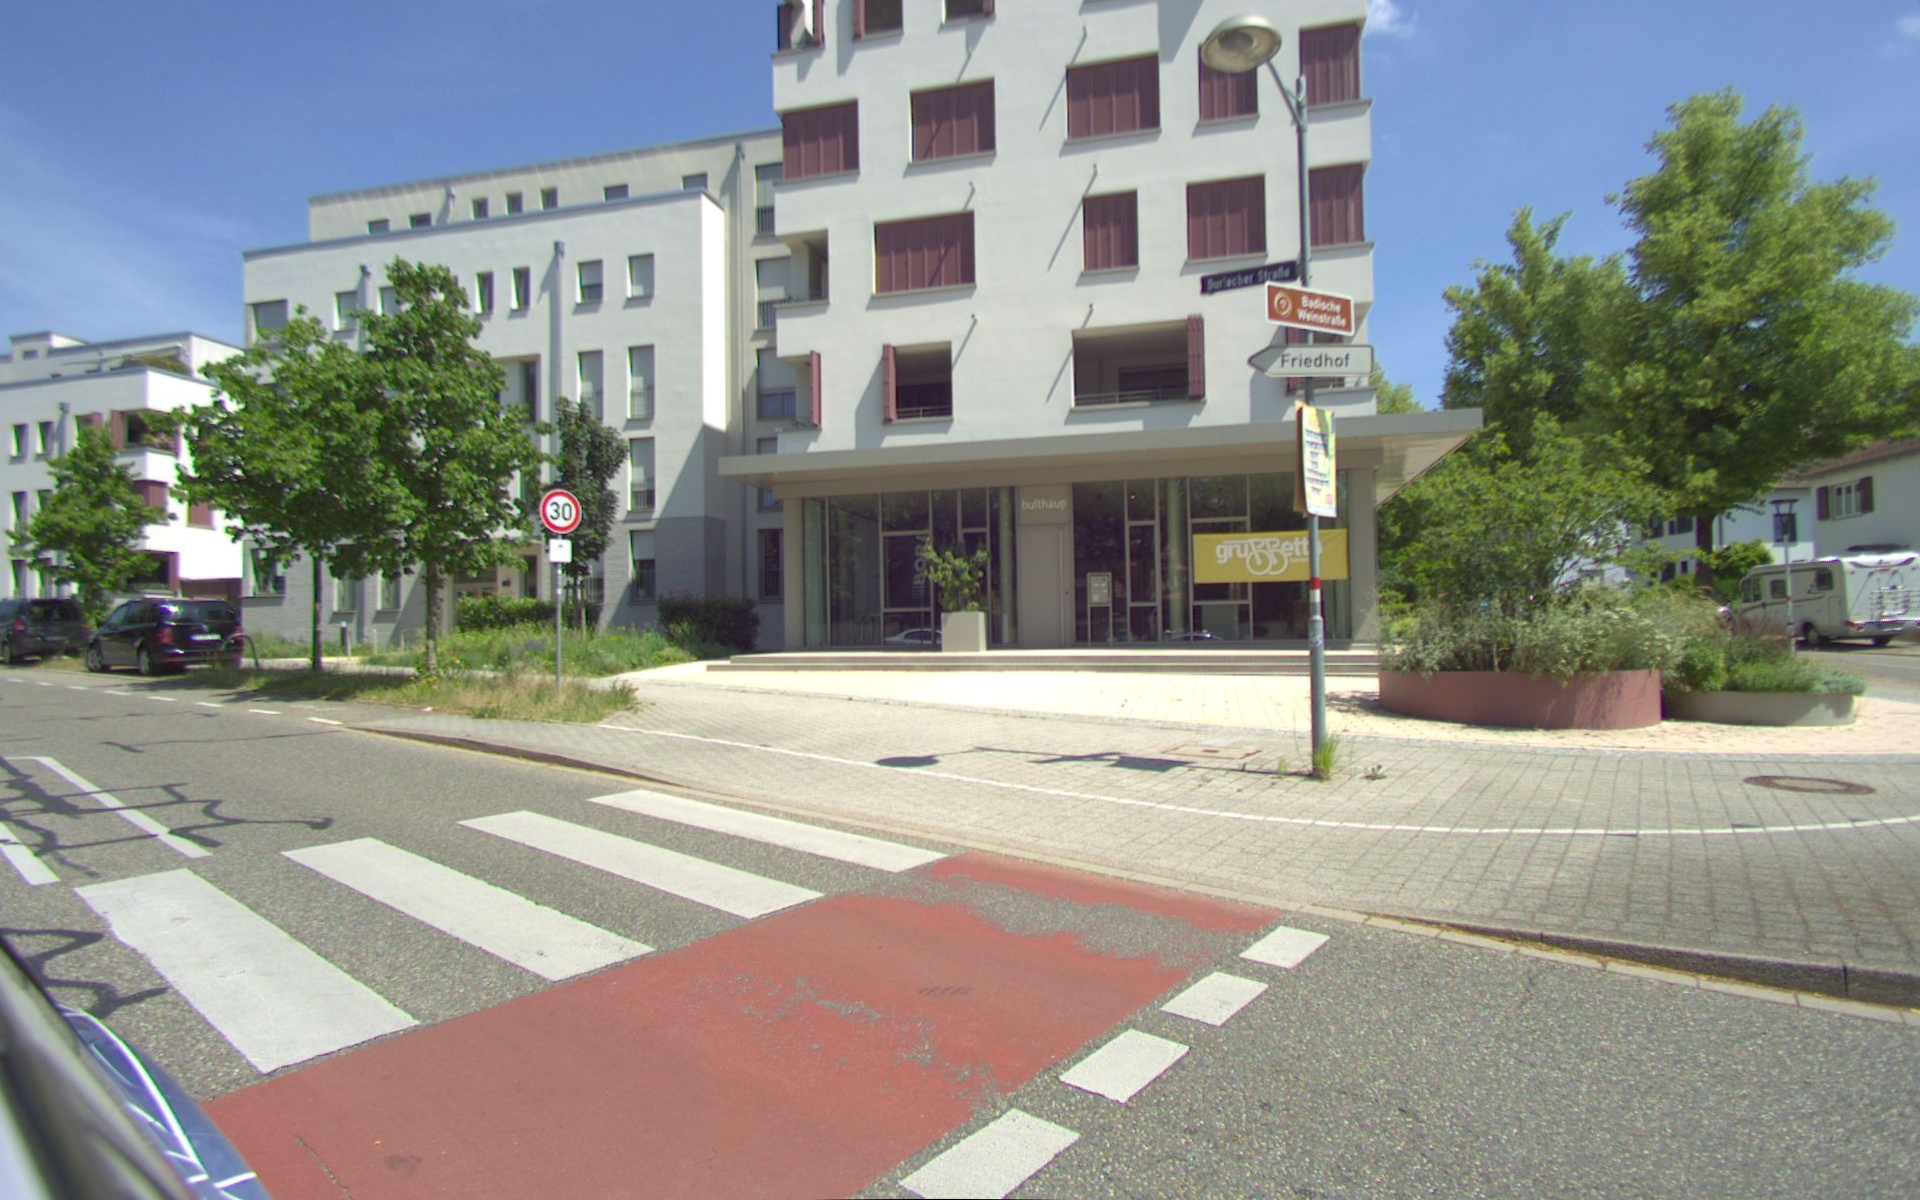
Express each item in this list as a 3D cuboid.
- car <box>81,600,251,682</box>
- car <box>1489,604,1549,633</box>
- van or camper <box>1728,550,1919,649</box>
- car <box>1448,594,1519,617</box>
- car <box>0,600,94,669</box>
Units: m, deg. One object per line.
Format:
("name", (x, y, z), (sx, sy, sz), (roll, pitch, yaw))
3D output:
("car", (-17.494, 0.850, 22.256), (4.007, 1.650, 1.681), (-1, -1, 32))
("car", (30.514, 0.990, 55.366), (1.738, 1.516, 3.978), (-1, -1, 11))
("van or camper", (26.439, 0.002, 30.823), (2.250, 2.658, 5.866), (-3, -1, 10))
("car", (37.342, 0.406, 72.230), (4.068, 1.621, 1.814), (0, -1, 5))
("car", (-24.819, 0.878, 26.930), (3.615, 1.713, 1.681), (-1, -1, 32))
